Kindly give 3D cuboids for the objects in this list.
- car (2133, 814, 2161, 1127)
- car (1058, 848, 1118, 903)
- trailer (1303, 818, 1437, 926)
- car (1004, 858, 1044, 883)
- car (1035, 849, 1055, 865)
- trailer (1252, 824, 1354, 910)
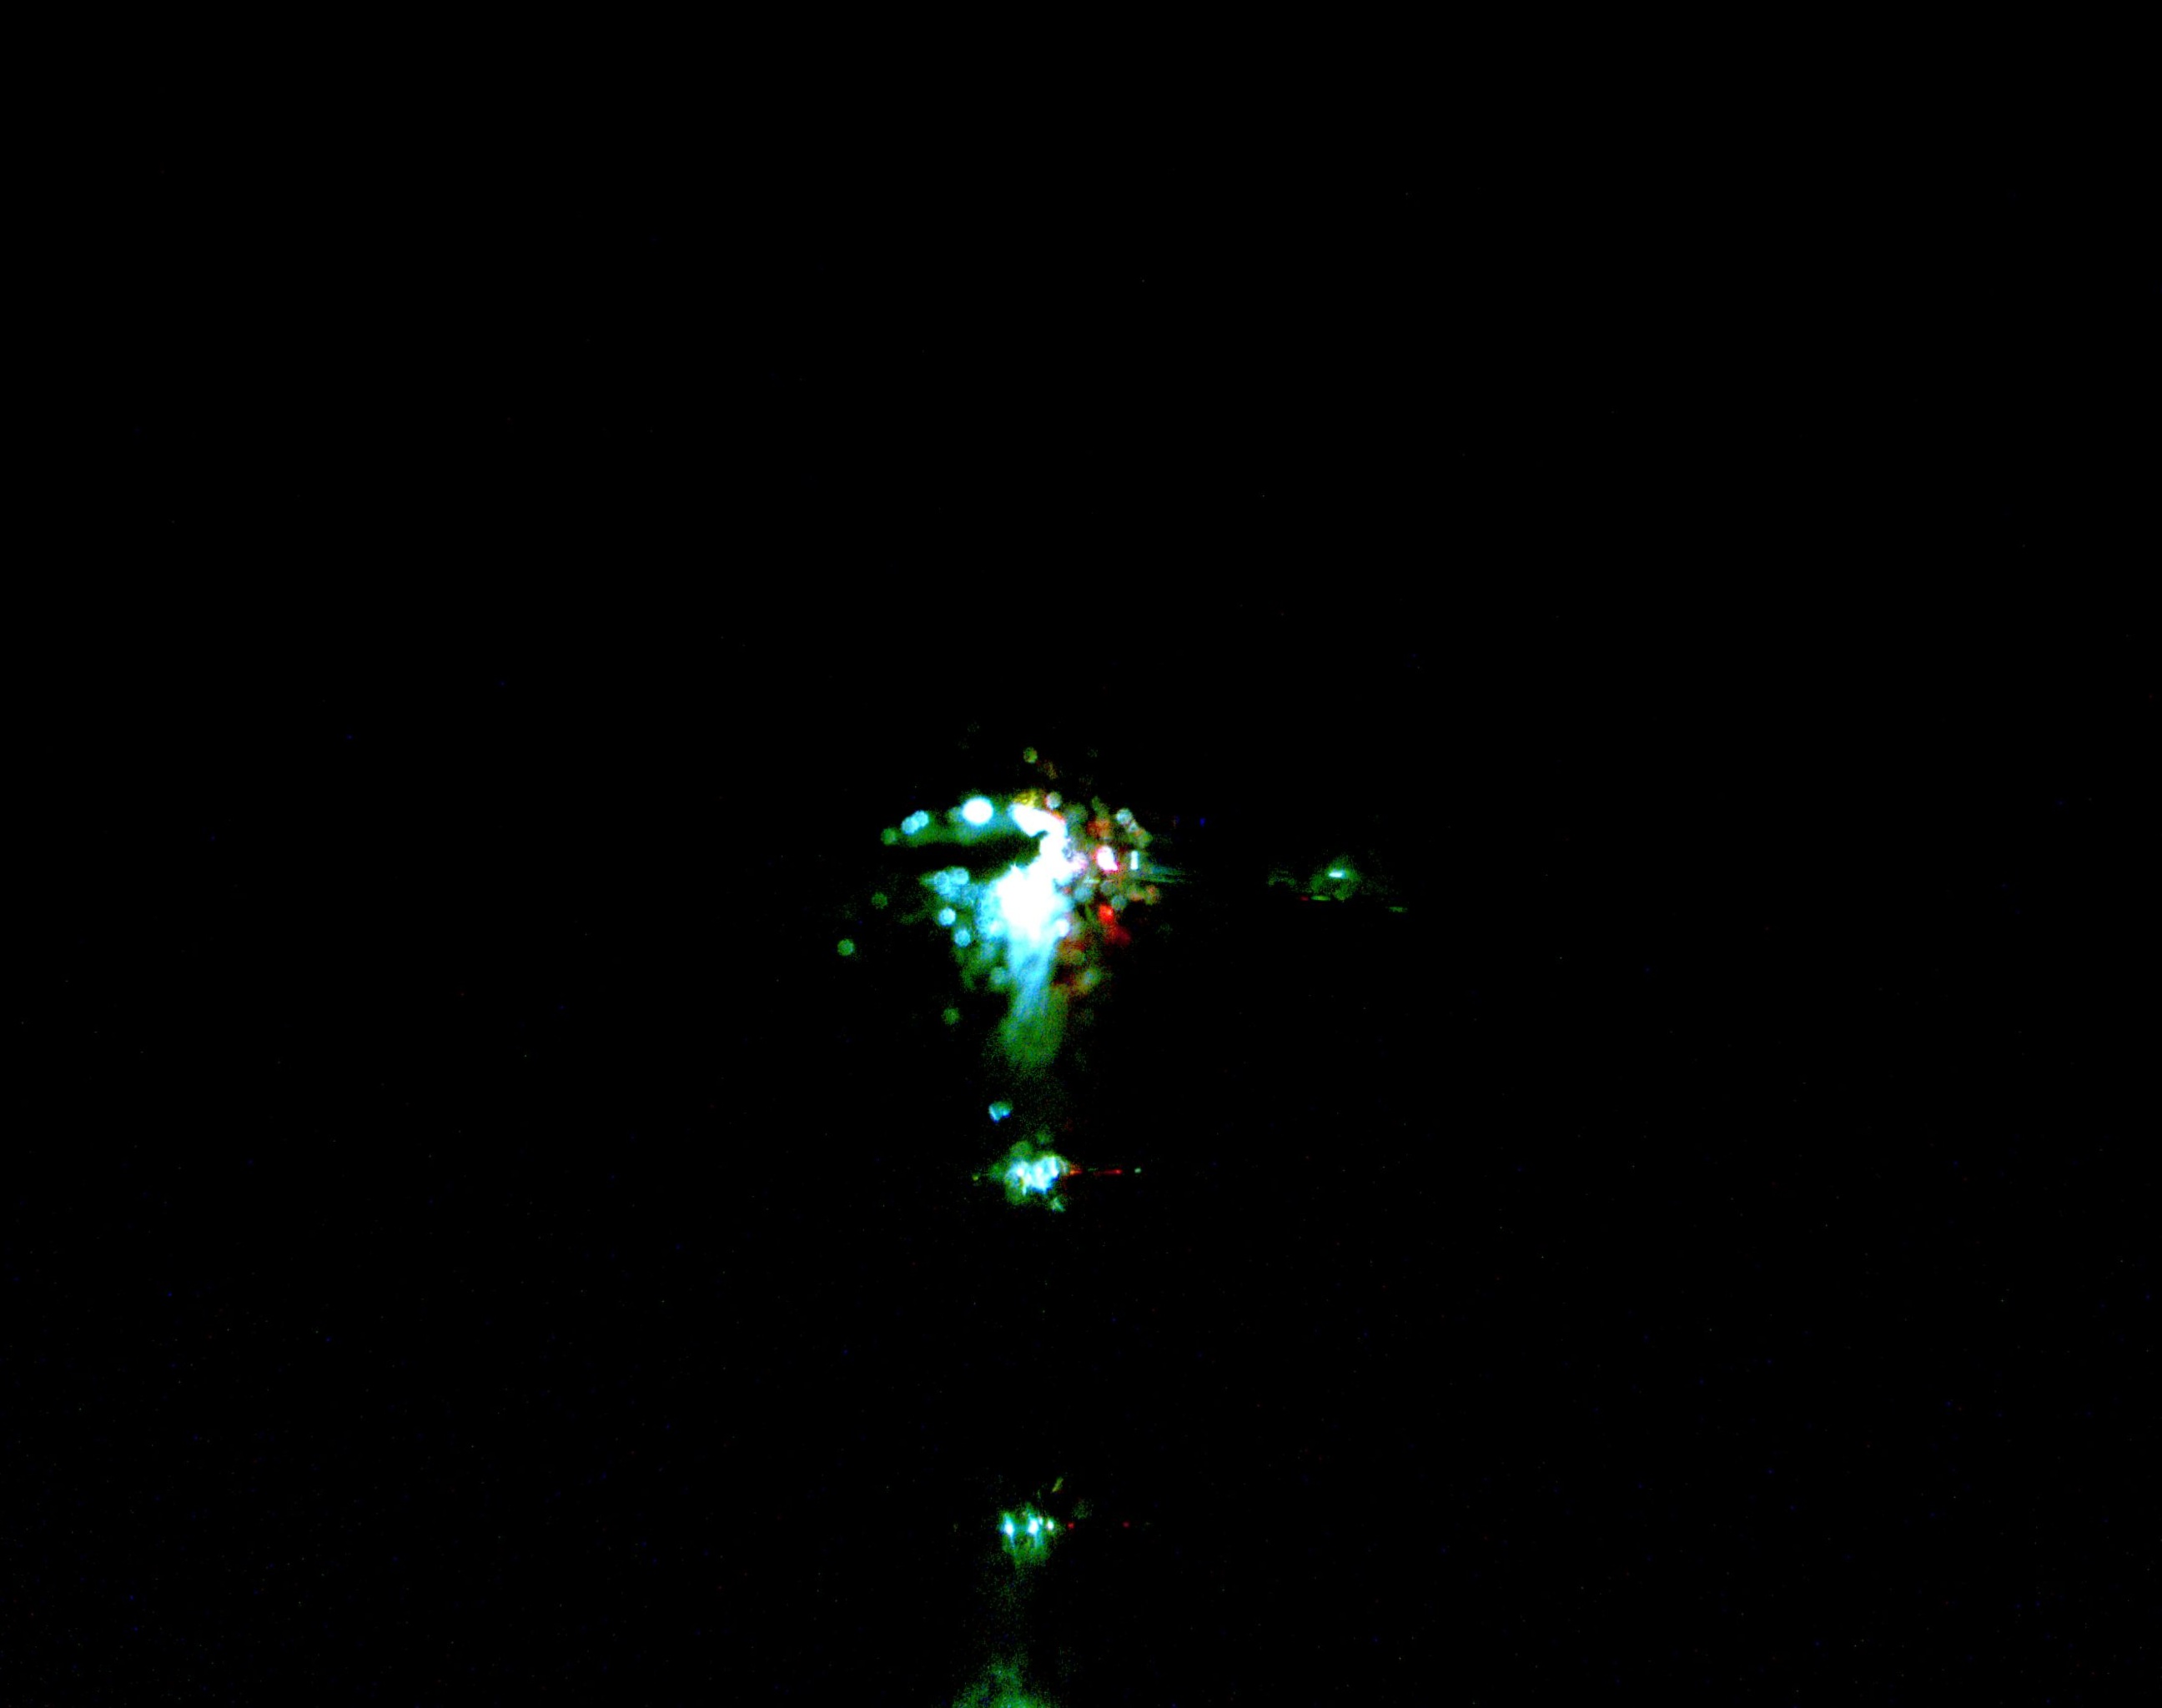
[{"bbox_3d":[8.153,0.784,3.343,1.875,2.040,4.383,2,0,-5],"label":"car"},{"bbox_3d":[0.187,0.648,26.722,1.796,1.628,3.614,1,0,-1],"label":"car"},{"bbox_3d":[7.137,0.395,20.619,1.601,2.352,4.428,3,0,-2],"label":"trailer"},{"bbox_3d":[-3.393,0.952,49.256,1.987,1.460,4.898,0,0,0],"label":"car"},{"bbox_3d":[-3.544,0.302,80.171,1.797,1.509,3.613,2,0,-2],"label":"car"},{"bbox_3d":[6.799,0.360,25.418,1.626,2.364,4.649,3,0,-2],"label":"trailer"}]
